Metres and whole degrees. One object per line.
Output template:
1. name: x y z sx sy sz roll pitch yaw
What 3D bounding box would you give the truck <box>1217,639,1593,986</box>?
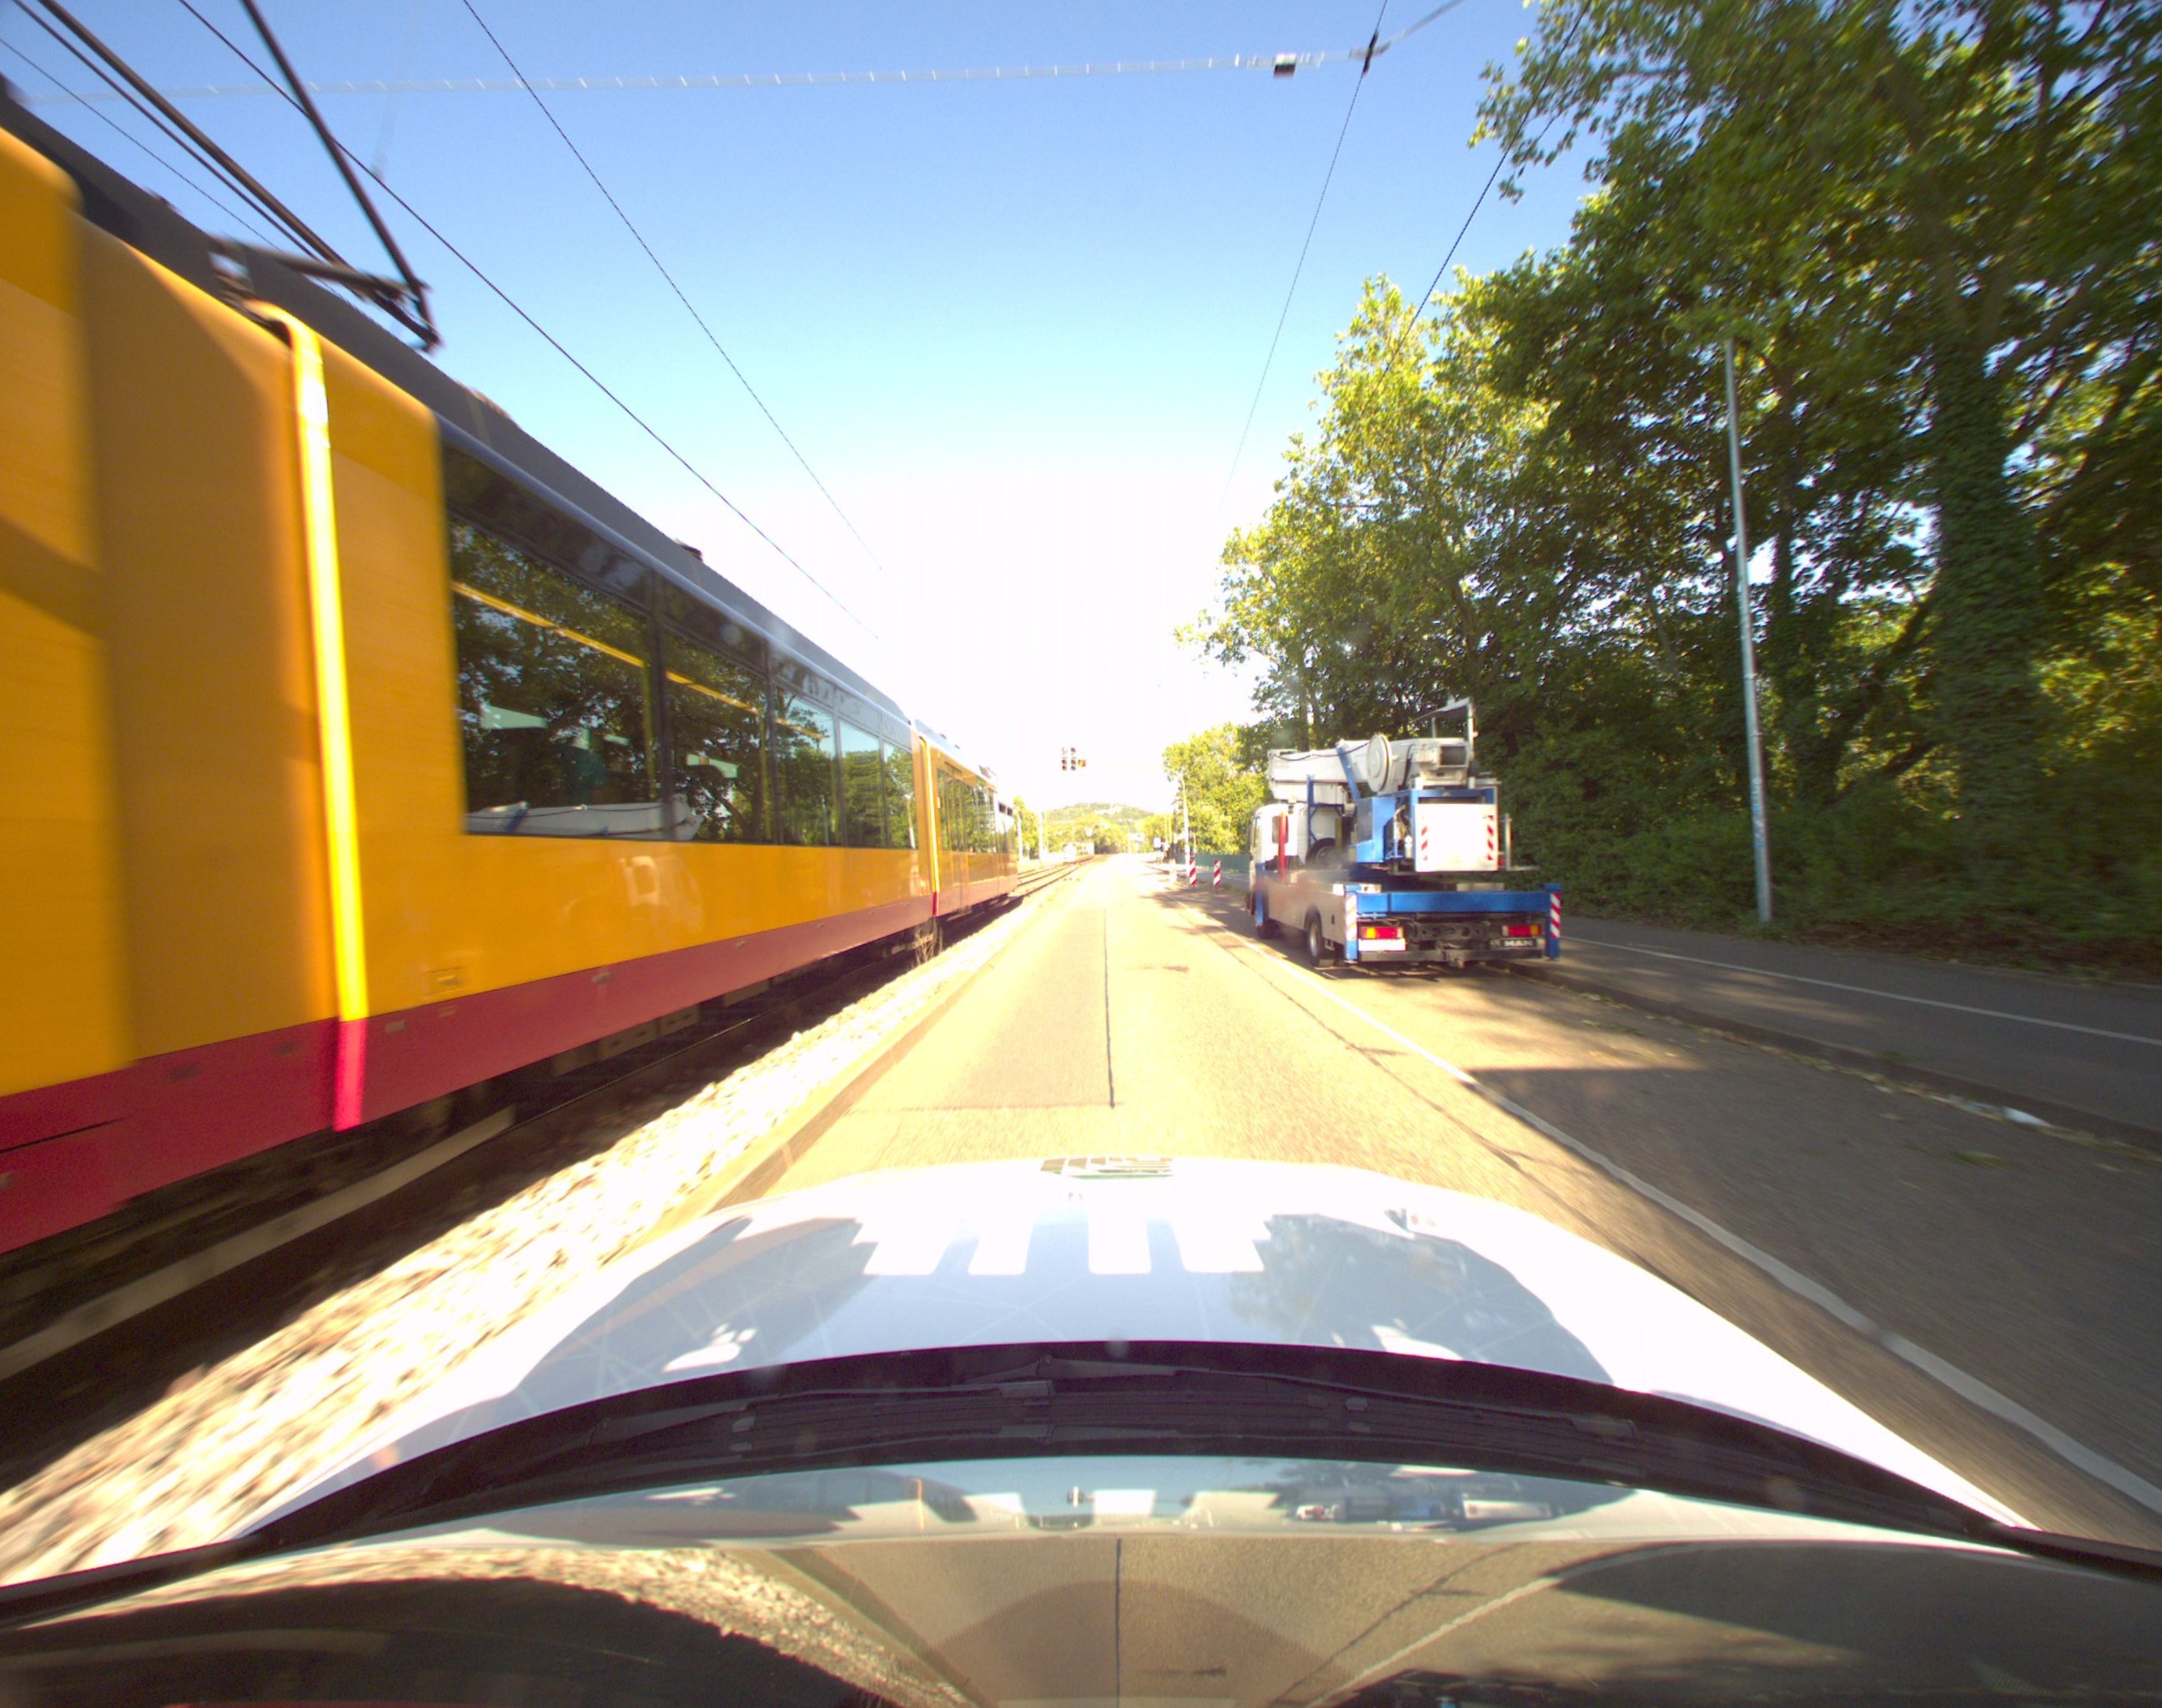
1. truck: 4.354 -0.458 13.801 2.707 3.783 9.764 0 0 1

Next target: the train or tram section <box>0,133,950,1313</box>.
1. train or tram section: -3.666 -0.435 7.833 2.684 4.089 9.915 -3 0 2

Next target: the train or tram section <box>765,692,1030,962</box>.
1. train or tram section: -3.281 -0.430 19.174 2.709 4.089 12.819 -3 0 2

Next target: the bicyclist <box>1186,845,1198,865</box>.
1. bicyclist: 8.633 0.084 63.269 0.821 1.520 0.975 -2 0 1

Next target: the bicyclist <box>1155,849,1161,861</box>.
1. bicyclist: 8.933 0.100 94.512 0.602 1.379 0.975 -2 0 1

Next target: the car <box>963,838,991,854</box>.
1. car: -9.842 -0.779 77.344 1.760 1.413 4.914 -2 0 2

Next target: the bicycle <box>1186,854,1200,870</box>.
1. bicycle: 8.652 0.583 63.197 0.725 1.176 2.696 -3 0 2

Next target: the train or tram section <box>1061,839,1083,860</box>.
1. train or tram section: -1.570 -0.784 143.164 2.631 3.567 10.848 -2 0 5

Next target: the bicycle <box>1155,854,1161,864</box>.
1. bicycle: 8.940 0.580 94.468 0.513 1.042 1.976 -2 0 2
